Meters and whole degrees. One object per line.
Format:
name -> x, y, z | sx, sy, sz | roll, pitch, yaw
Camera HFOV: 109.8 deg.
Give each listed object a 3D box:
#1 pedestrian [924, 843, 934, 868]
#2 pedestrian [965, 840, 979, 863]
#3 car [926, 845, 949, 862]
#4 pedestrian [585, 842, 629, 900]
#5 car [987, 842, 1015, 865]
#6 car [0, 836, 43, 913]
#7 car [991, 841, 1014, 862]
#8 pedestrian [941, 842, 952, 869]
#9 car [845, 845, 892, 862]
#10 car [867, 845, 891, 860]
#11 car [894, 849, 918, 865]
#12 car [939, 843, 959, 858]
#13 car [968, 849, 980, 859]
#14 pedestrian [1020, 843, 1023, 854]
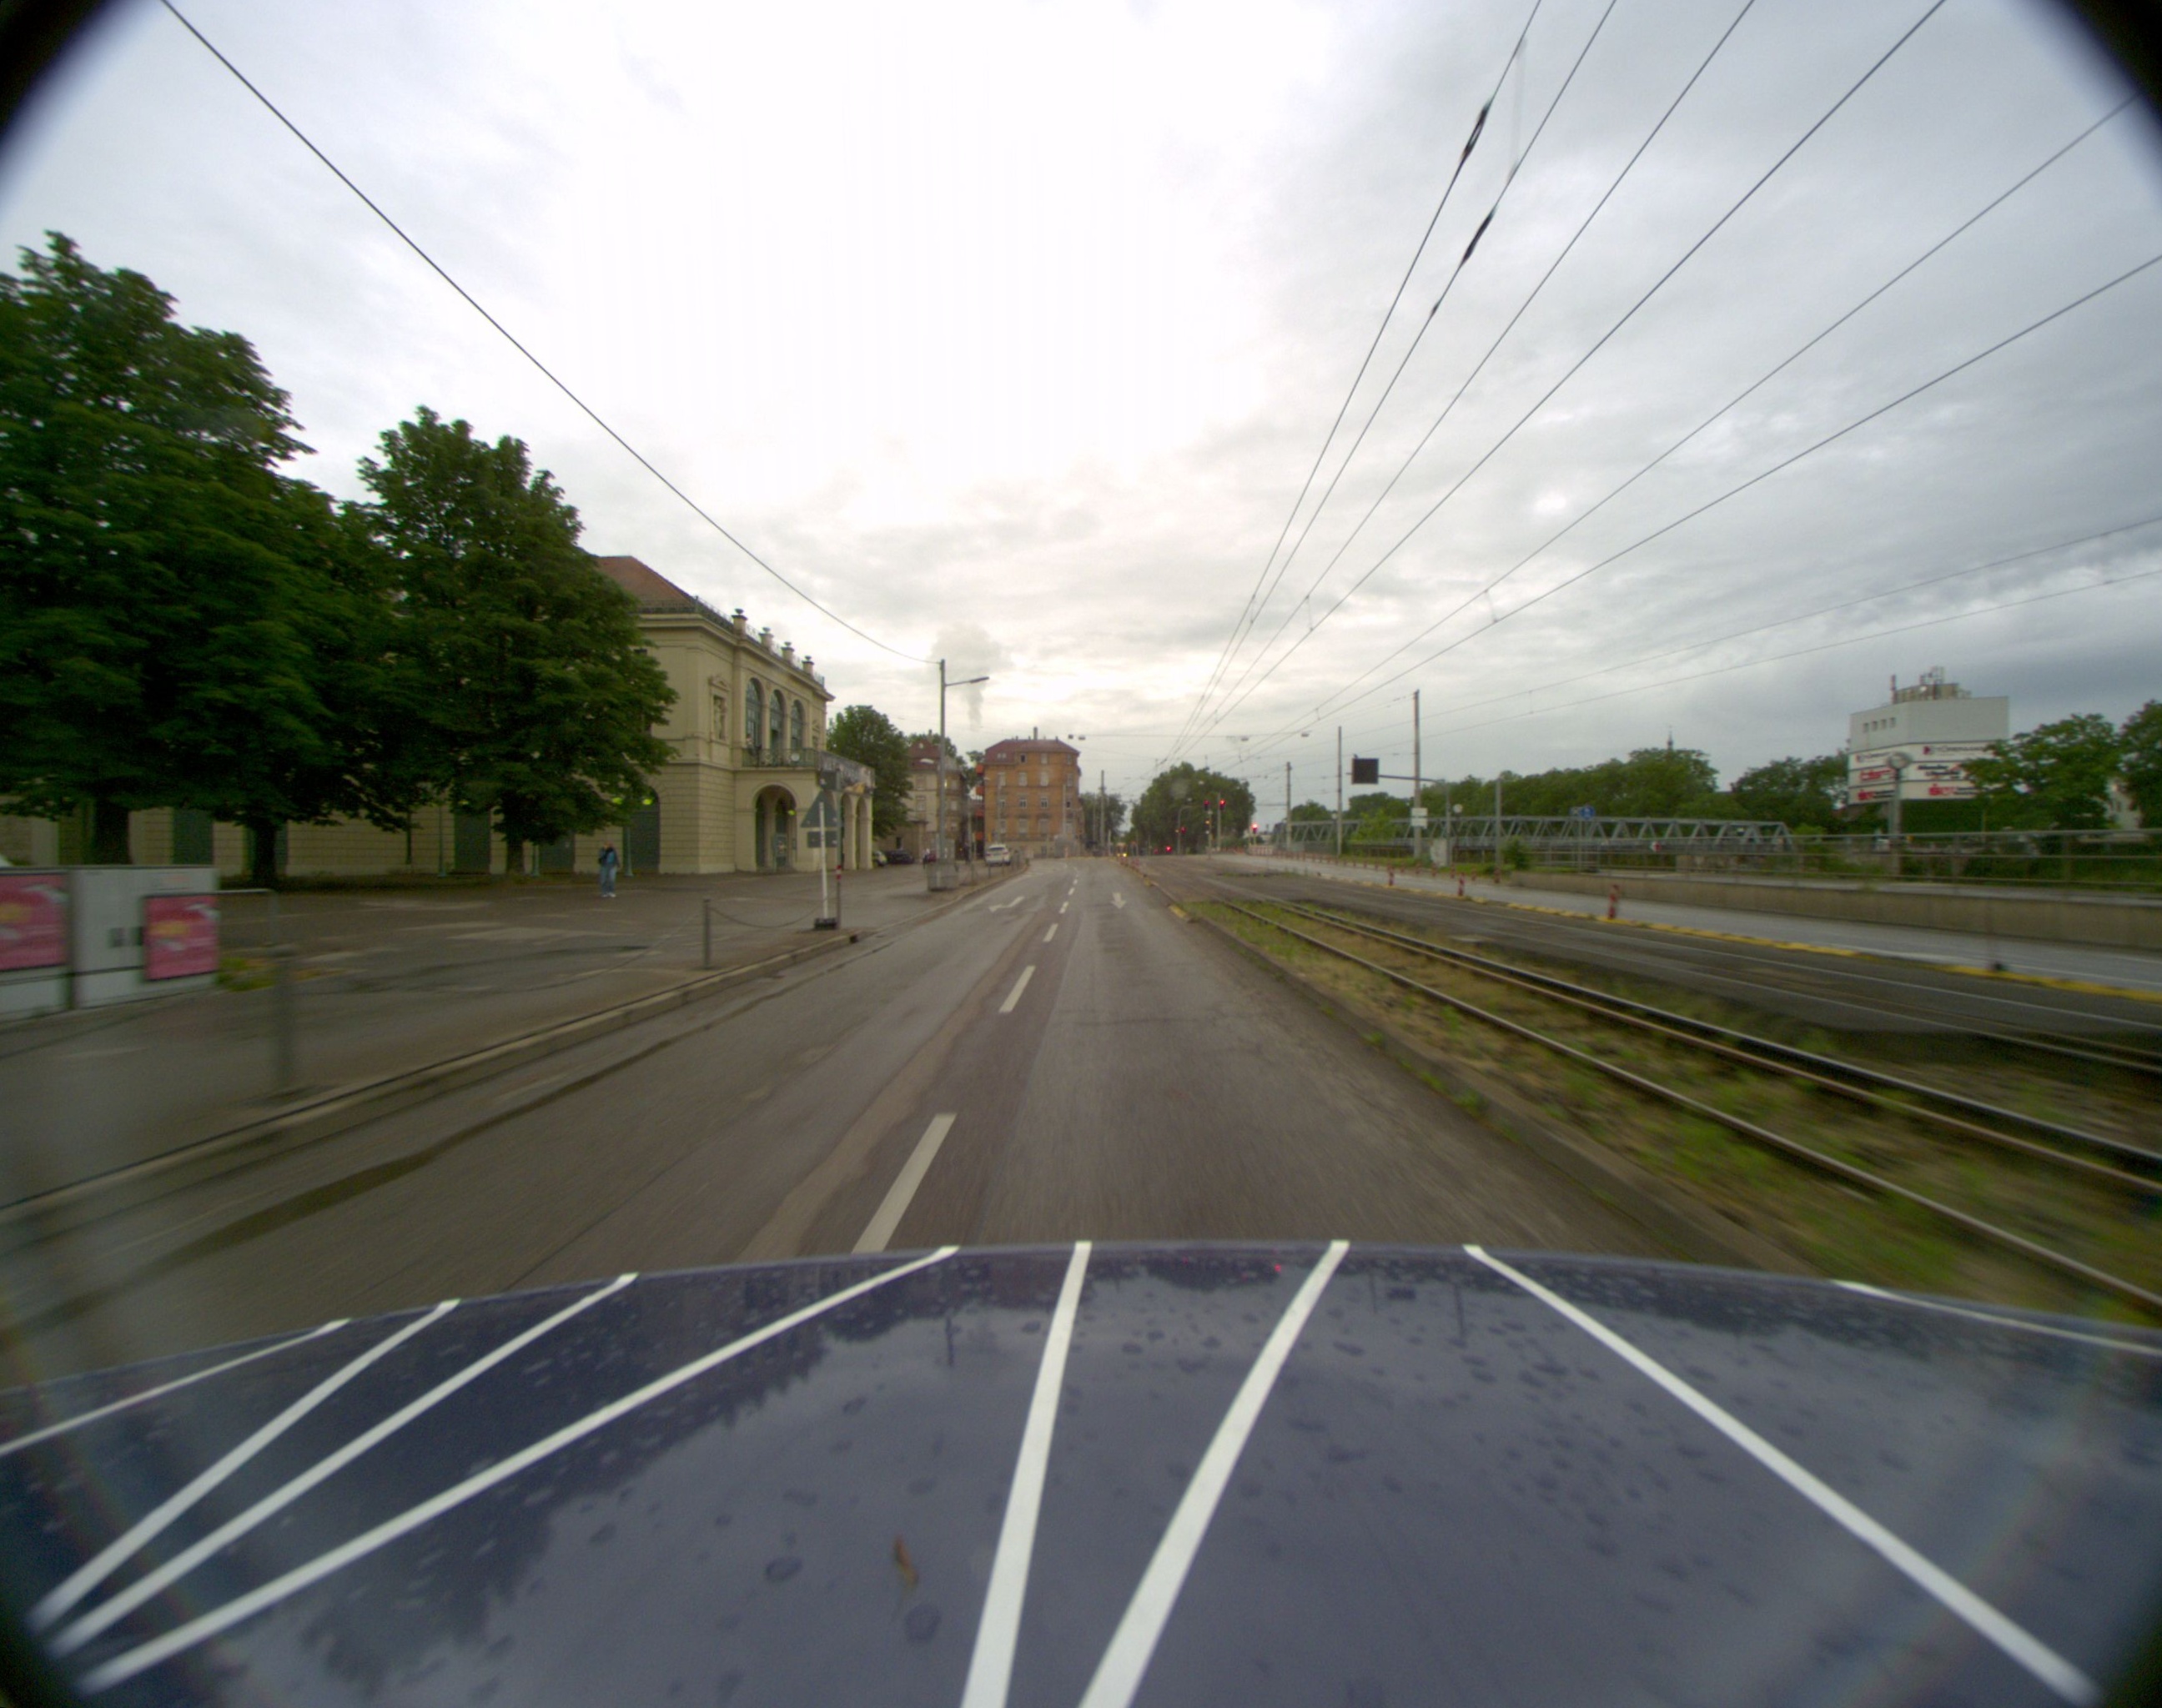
pedestrian -> -10.086, 0.084, 50.442 | 0.629, 1.635, 0.780 | 0, 1, -5
pedestrian -> -8.759, -0.190, 60.984 | 0.783, 1.797, 0.696 | -3, 2, -39
car -> -14.566, -0.068, 77.237 | 1.831, 1.573, 3.997 | 0, 1, -5
pedestrian -> -13.307, 0.470, 21.342 | 0.863, 1.581, 0.669 | 2, 1, 27
car -> -6.095, -0.094, 58.588 | 1.844, 1.630, 4.141 | -3, 1, -3
car -> -21.264, 0.337, 13.058 | 1.841, 1.446, 3.599 | 1, -2, 1
car -> -6.673, -0.232, 64.552 | 1.721, 1.630, 4.139 | -3, 2, -7
pedestrian -> -8.809, 0.097, 49.775 | 0.595, 1.726, 0.839 | 0, 1, -1
car -> -18.907, -0.047, 67.689 | 3.742, 1.461, 1.729 | 0, 1, 3
car -> -20.794, -0.155, 78.282 | 1.682, 1.489, 3.997 | 0, 1, -5
car -> -17.774, 0.264, 77.341 | 1.864, 1.539, 4.063 | -1, 1, -5
car -> -15.235, -0.424, 87.945 | 1.831, 1.573, 3.997 | 0, 1, -5
car -> -18.146, 0.006, 128.850 | 1.831, 1.573, 3.997 | 0, 1, -5
pedestrian -> -9.194, -0.891, 117.610 | 0.512, 1.645, 0.534 | 0, 1, -1
